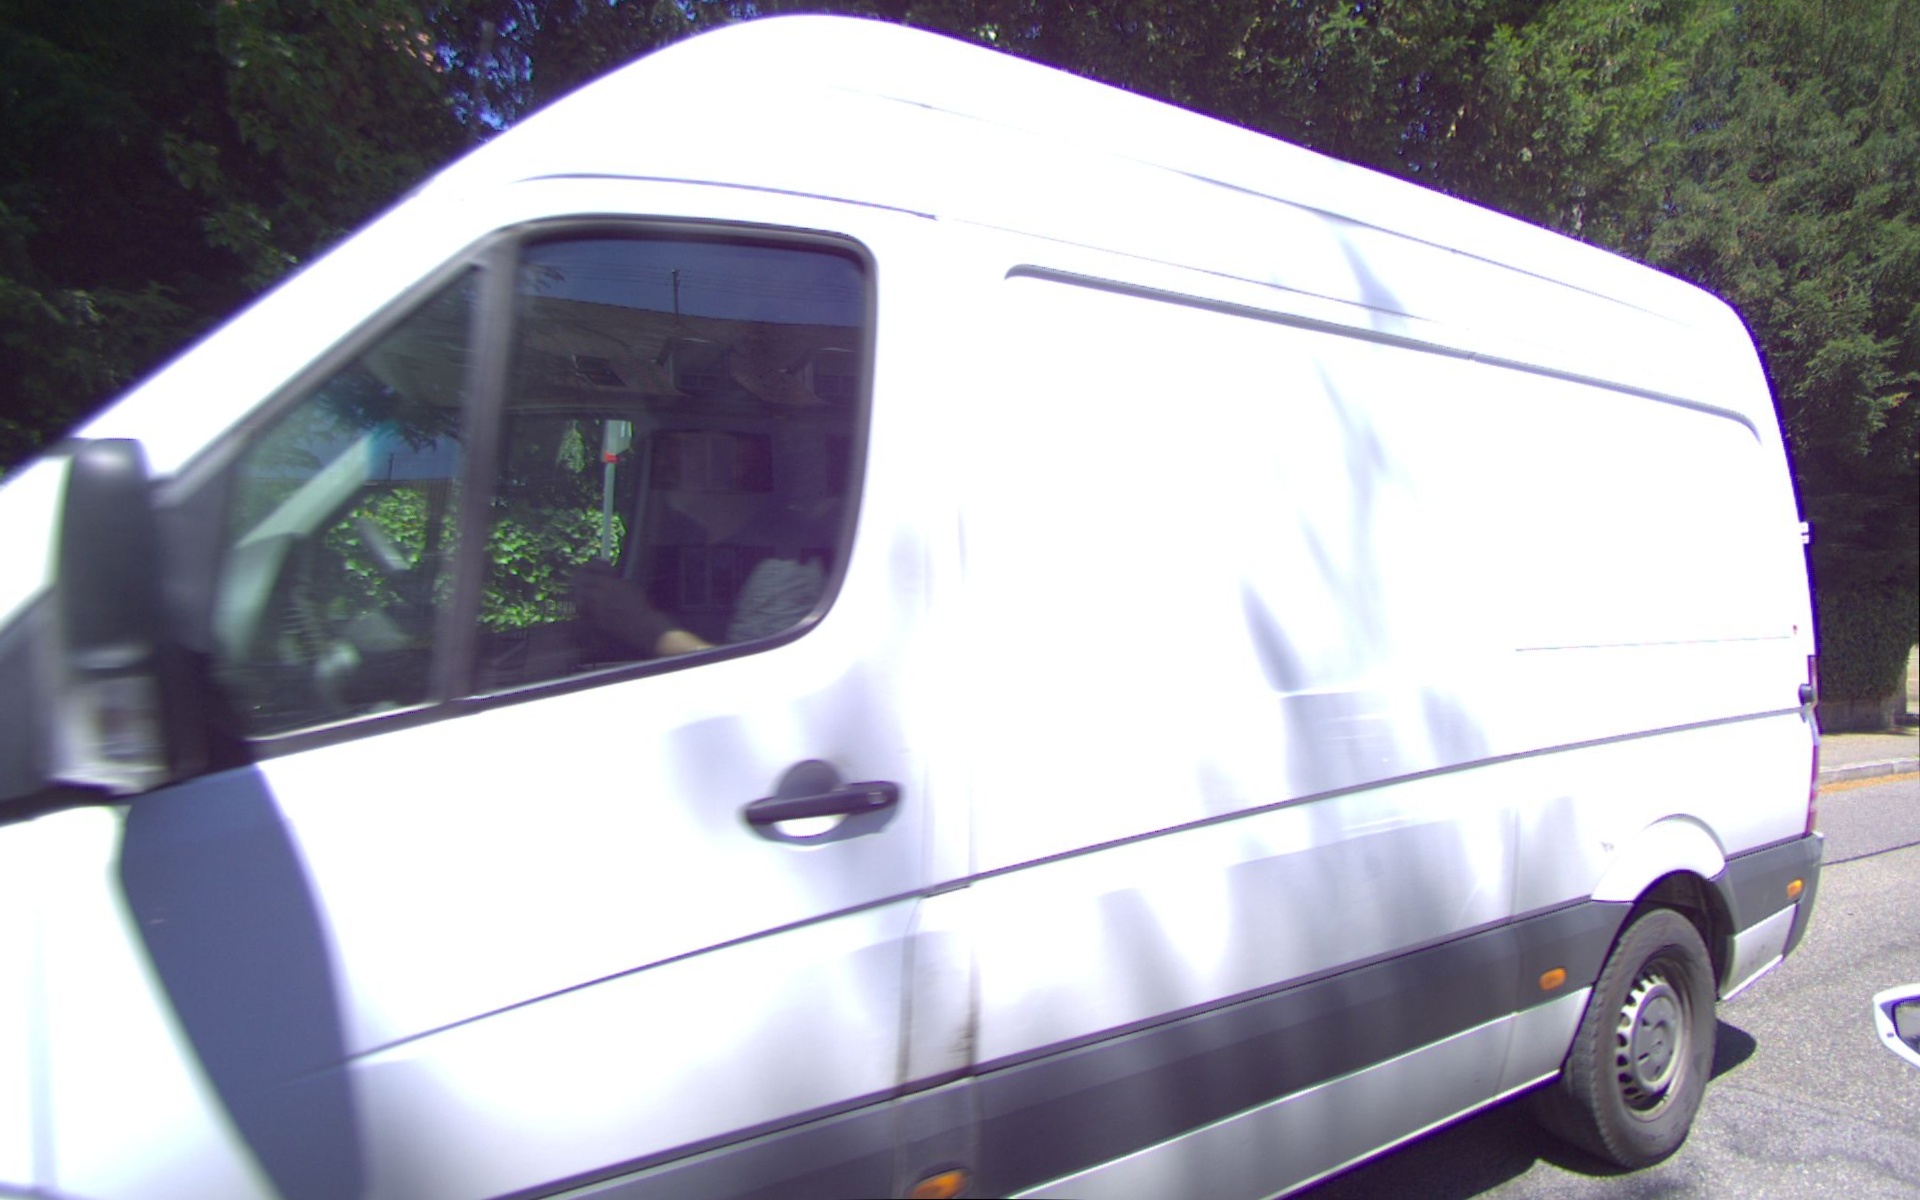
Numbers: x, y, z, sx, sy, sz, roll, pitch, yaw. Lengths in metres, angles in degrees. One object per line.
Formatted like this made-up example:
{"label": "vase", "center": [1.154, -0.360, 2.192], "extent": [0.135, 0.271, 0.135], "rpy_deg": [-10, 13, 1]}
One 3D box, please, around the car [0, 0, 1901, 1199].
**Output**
{"label": "car", "center": [0.173, 0.241, 2.769], "extent": [5.825, 2.566, 1.984], "rpy_deg": [1, -1, -30]}
